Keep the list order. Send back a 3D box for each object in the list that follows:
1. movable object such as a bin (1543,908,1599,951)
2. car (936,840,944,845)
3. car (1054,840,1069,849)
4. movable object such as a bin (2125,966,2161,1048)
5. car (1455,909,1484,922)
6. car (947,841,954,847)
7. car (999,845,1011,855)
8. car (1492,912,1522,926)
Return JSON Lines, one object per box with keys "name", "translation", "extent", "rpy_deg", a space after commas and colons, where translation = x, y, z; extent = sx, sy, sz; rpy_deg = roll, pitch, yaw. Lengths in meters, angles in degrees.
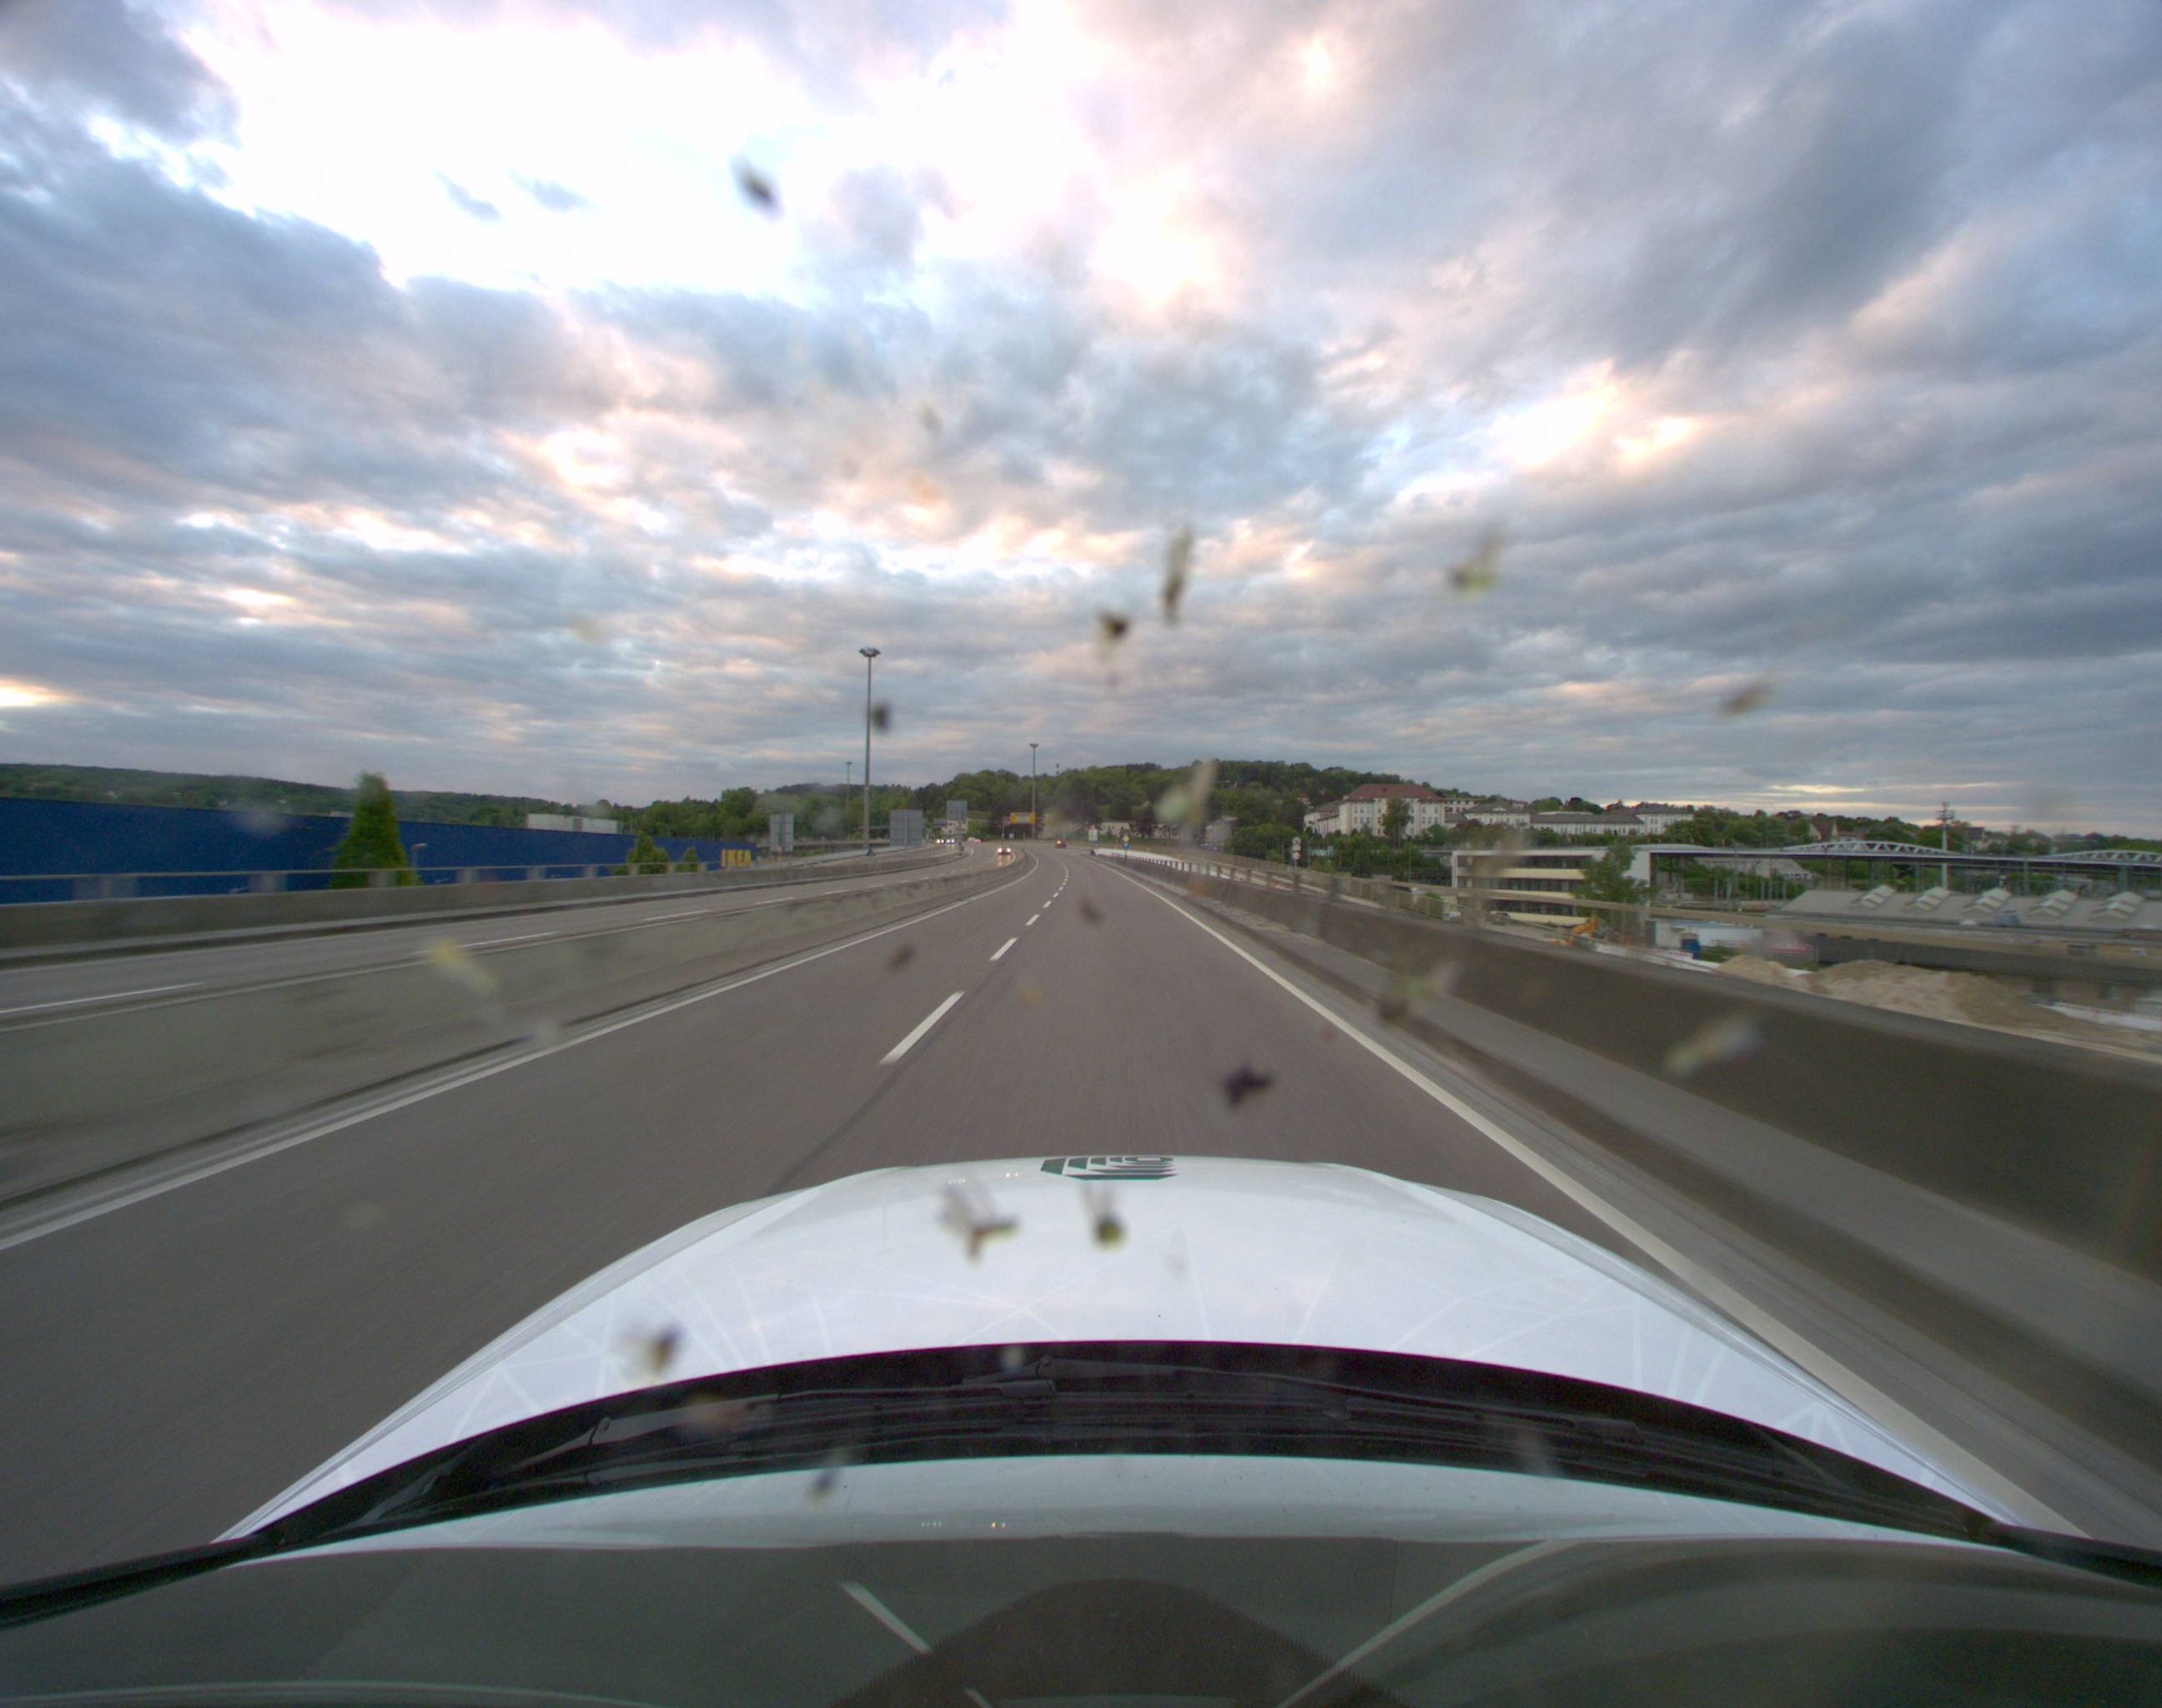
{"name": "movable object such as a bin", "translation": [58.111, 8.938, 96.657], "extent": [2.776, 4.309, 4.939], "rpy_deg": [6, 0, -11]}
{"name": "car", "translation": [-43.989, -3.615, 254.612], "extent": [1.803, 1.486, 3.814], "rpy_deg": [0, 0, -21]}
{"name": "car", "translation": [-4.097, -1.971, 172.869], "extent": [2.308, 1.763, 4.241], "rpy_deg": [1, 1, -15]}
{"name": "movable object such as a bin", "translation": [62.428, 8.849, 45.684], "extent": [4.947, 4.309, 2.772], "rpy_deg": [6, 0, -14]}
{"name": "car", "translation": [56.299, 8.938, 118.065], "extent": [4.014, 1.565, 1.814], "rpy_deg": [4, 2, -33]}
{"name": "car", "translation": [-38.045, -2.963, 237.214], "extent": [1.639, 1.717, 3.979], "rpy_deg": [-5, 1, -15]}
{"name": "car", "translation": [-11.745, -0.567, 126.215], "extent": [1.826, 1.480, 4.280], "rpy_deg": [0, 0, -5]}
{"name": "car", "translation": [58.438, 8.907, 111.715], "extent": [4.014, 1.565, 1.814], "rpy_deg": [4, 2, -33]}
